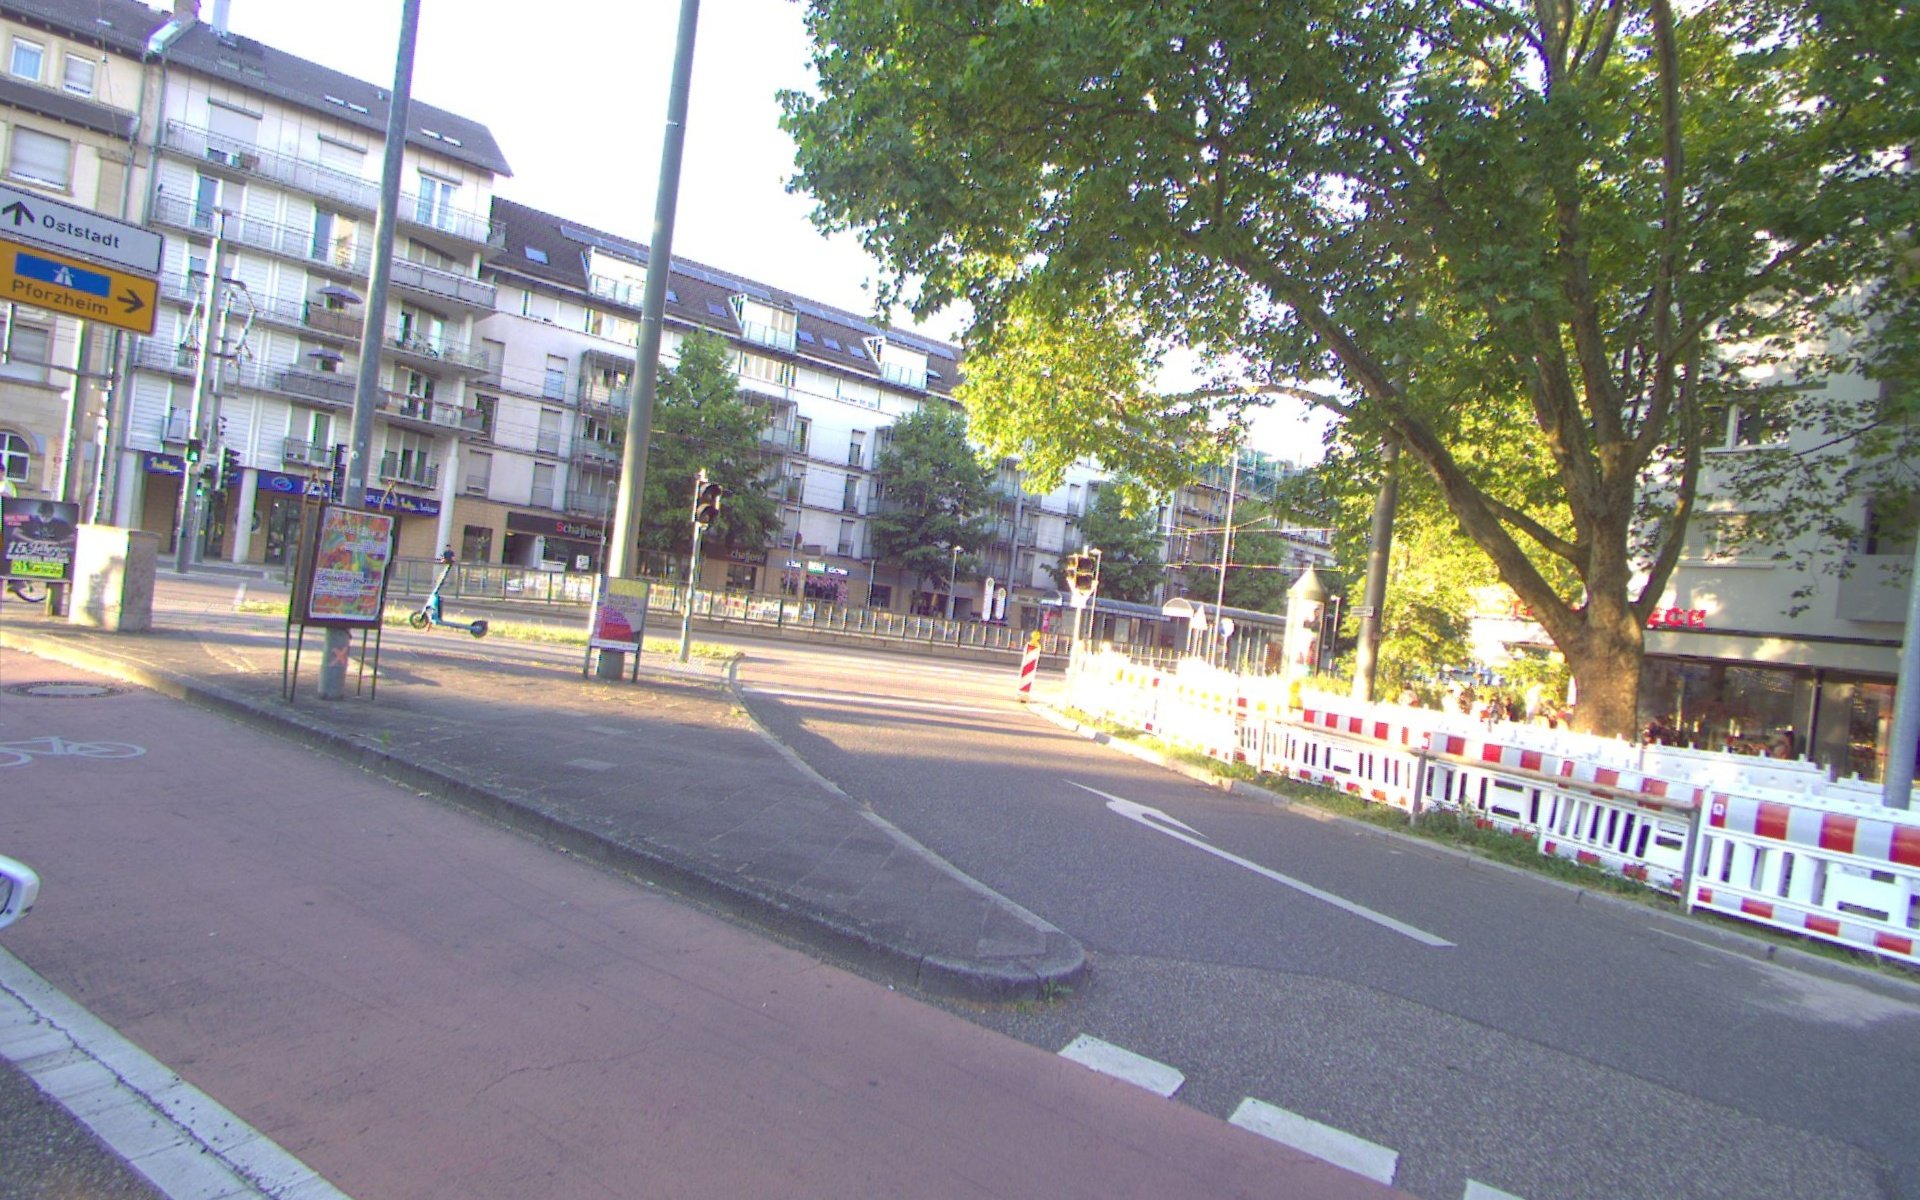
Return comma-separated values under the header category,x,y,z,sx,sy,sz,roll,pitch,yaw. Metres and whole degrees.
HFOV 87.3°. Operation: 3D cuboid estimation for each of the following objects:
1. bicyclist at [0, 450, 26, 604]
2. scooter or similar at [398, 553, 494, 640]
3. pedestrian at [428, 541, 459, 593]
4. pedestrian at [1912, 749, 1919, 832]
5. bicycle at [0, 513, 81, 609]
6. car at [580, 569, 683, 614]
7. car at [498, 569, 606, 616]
category,x,y,z,sx,sy,sz,roll,pitch,yaw
bicyclist,-11.895,-0.920,12.005,0.617,1.845,0.699,7,-1,0
scooter or similar,-8.417,-0.049,16.513,1.217,1.264,0.513,7,-1,-19
pedestrian,-23.392,-1.478,45.572,0.864,2.234,0.812,8,-1,-39
pedestrian,15.691,2.928,15.842,0.733,1.607,0.641,6,-1,25
bicycle,-11.940,-0.520,12.210,0.617,1.122,2.073,7,-2,0
car,-14.944,-0.375,45.857,3.970,1.503,1.830,9,-3,-39
car,-17.719,-0.328,43.769,3.964,1.503,1.833,9,-2,-34
